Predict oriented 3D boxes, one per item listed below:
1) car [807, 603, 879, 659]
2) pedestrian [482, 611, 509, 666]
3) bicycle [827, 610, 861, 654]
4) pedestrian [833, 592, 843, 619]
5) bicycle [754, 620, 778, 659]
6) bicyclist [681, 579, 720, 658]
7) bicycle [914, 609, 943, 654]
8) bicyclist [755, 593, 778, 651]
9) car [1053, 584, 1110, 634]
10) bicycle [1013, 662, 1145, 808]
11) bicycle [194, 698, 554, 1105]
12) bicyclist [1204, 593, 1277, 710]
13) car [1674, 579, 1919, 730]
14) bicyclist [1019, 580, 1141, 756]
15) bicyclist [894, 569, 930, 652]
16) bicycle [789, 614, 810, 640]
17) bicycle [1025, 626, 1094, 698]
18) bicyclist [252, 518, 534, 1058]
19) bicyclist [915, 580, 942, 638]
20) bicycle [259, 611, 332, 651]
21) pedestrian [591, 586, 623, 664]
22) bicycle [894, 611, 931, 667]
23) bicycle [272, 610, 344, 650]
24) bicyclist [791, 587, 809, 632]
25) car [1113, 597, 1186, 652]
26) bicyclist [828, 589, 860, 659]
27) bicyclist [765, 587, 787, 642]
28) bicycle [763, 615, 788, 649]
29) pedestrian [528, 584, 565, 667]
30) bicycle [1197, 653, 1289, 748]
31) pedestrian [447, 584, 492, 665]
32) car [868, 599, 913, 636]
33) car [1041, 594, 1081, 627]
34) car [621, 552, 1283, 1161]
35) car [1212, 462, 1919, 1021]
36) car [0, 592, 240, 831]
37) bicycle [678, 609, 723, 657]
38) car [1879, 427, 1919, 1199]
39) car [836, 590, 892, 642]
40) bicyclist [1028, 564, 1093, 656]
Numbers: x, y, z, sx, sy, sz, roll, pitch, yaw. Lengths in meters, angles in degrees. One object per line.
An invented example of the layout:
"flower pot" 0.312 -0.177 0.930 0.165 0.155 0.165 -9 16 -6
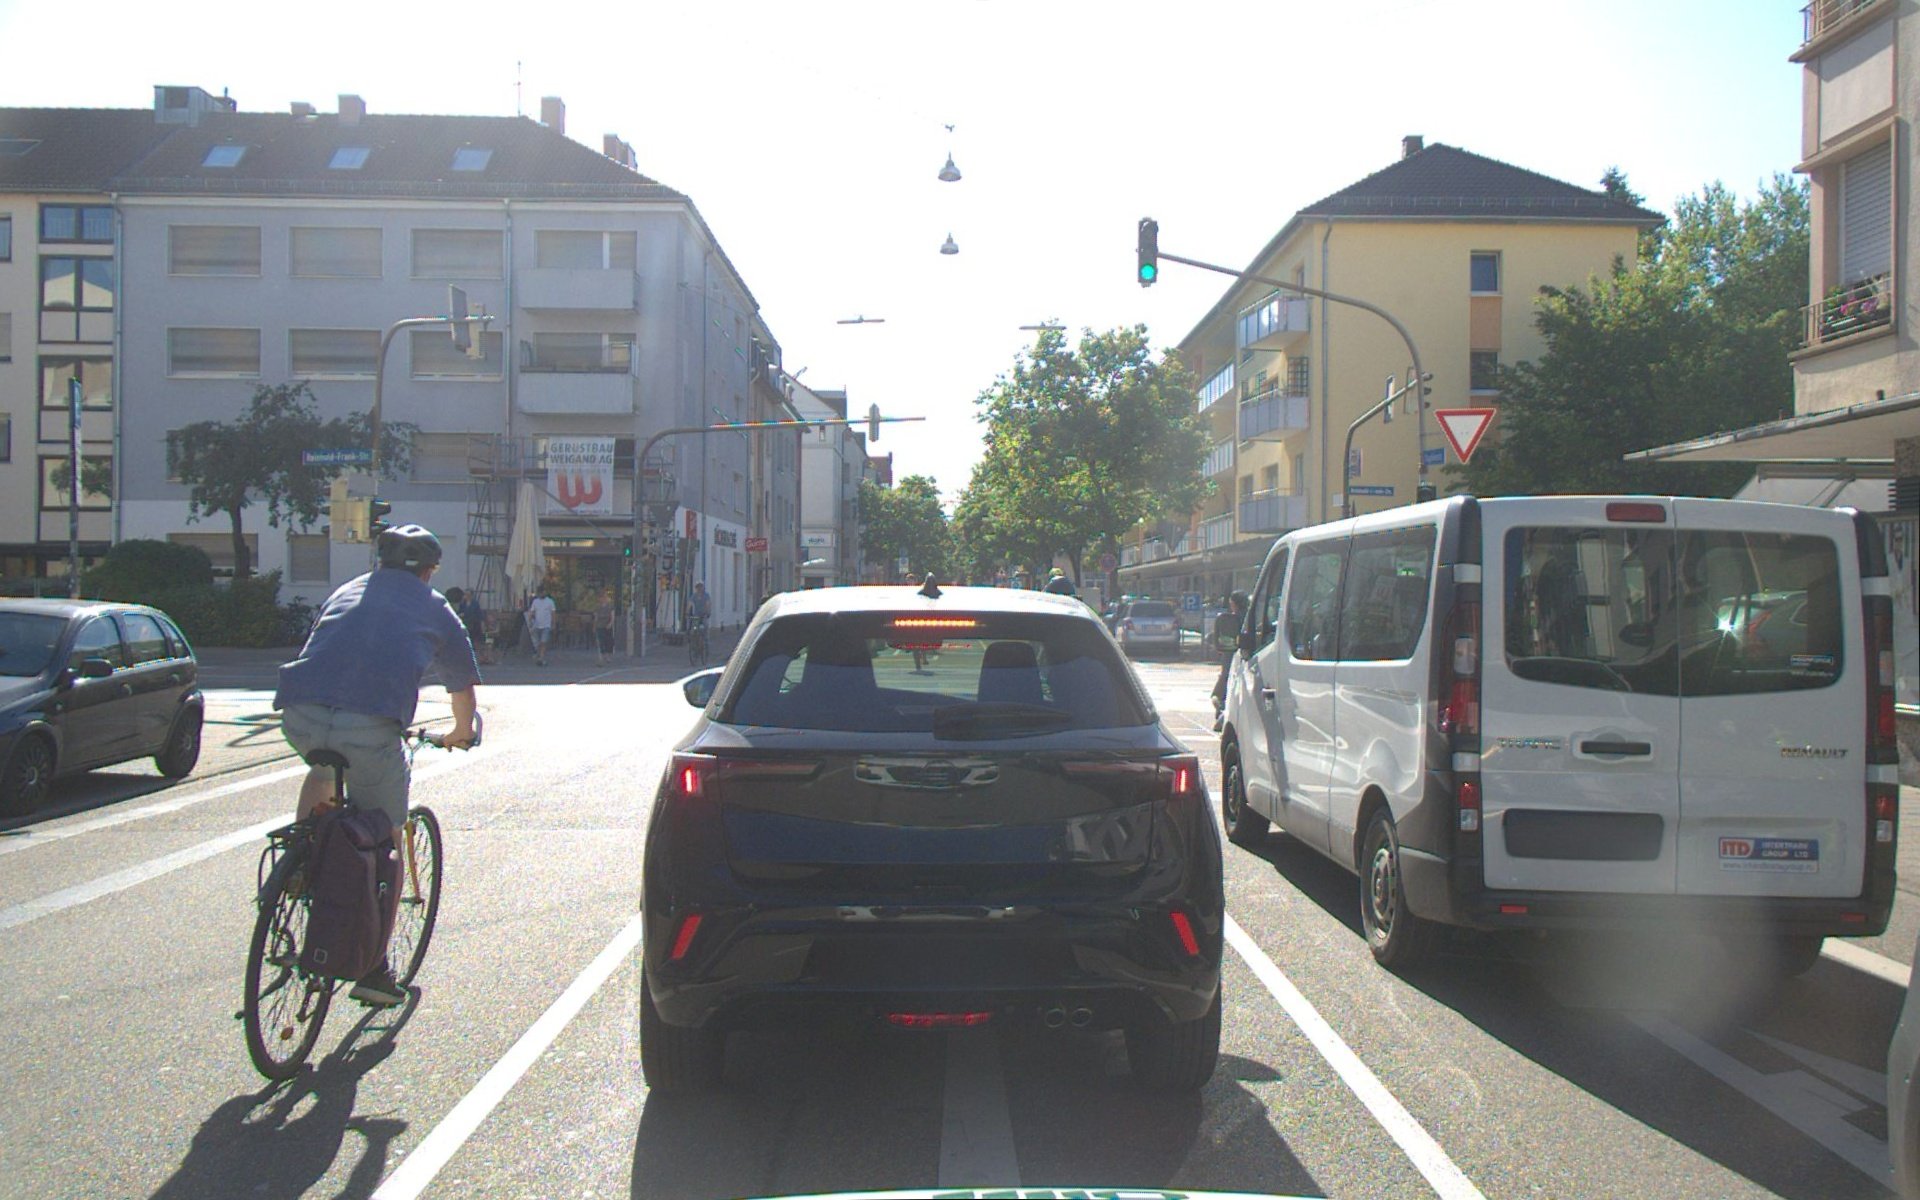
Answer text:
"car" -3.224 0.835 46.154 1.800 1.459 4.175 0 0 -1
"pedestrian" -10.003 0.821 35.633 0.377 1.166 0.532 0 0 7
"bicycle" -2.687 0.740 38.522 0.666 0.969 1.933 -1 0 -1
"pedestrian" -7.124 0.313 96.786 0.566 1.610 0.707 0 0 -6
"bicycle" -4.783 0.969 40.910 0.532 0.918 1.824 0 0 -5
"bicyclist" -5.597 0.396 35.740 0.666 1.659 0.899 -1 0 -1
"bicycle" -0.926 0.919 48.905 0.785 1.277 2.139 0 0 1
"bicyclist" -4.786 0.538 40.989 0.532 1.415 0.787 0 0 -5
"car" 4.742 0.339 65.076 2.003 1.879 4.585 0 0 1
"bicycle" 0.927 1.051 13.496 0.839 0.961 2.307 2 0 -1
"bicycle" -1.920 0.928 5.699 0.619 1.059 1.795 0 0 -1
"bicyclist" 2.987 0.539 17.646 0.677 1.214 0.595 0 0 0
"car" 10.810 0.615 19.622 3.905 1.691 1.825 0 0 -1
"bicyclist" 0.955 0.525 13.496 0.839 1.337 1.210 2 0 -1
"bicyclist" -0.963 0.215 33.565 0.702 1.648 0.946 0 0 -1
"bicycle" -5.688 0.949 58.602 0.542 0.848 2.131 1 0 -1
"bicycle" 1.489 0.919 25.098 0.839 0.961 2.307 2 0 -1
"bicyclist" -1.924 0.590 5.745 0.619 1.698 1.050 0 0 -1
"bicyclist" -0.927 0.263 49.010 0.785 1.678 1.125 0 0 0
"bicycle" -16.024 0.736 39.906 1.556 0.956 0.512 0 0 1
"pedestrian" -7.418 0.521 34.813 0.520 1.609 0.563 0 0 3
"bicycle" -0.956 0.776 33.565 0.702 1.082 1.872 0 0 -1
"bicycle" -15.965 0.729 40.498 1.556 0.956 0.512 0 0 1
"bicyclist" -5.670 0.319 58.605 0.542 1.576 0.814 1 0 -1
"car" 5.352 0.672 47.088 1.677 1.509 3.480 0 0 0
"bicyclist" -2.695 0.552 38.484 0.666 1.604 0.899 -1 0 -1
"bicyclist" -5.230 0.416 47.018 0.531 1.547 0.774 0 0 -1
"bicycle" -5.230 0.912 46.996 0.531 0.918 1.826 0 0 -1
"pedestrian" -8.670 0.521 34.707 0.561 1.718 0.670 0 0 5
"bicycle" 2.982 1.039 17.602 0.677 0.881 1.876 0 0 1
"pedestrian" -10.537 0.517 35.580 0.561 1.712 0.969 0 0 9
"car" -2.855 0.705 68.345 1.769 1.437 4.424 -1 0 -3
"car" 4.755 0.469 78.213 1.677 1.509 3.380 0 0 0
"car" -0.045 0.677 6.332 1.726 1.586 3.999 0 0 -1
"car" 2.706 0.523 8.519 1.928 1.974 5.054 2 0 -1
"car" -7.084 0.714 12.501 1.657 1.473 3.855 2 0 -2
"bicycle" -5.586 0.702 35.675 0.666 0.969 1.933 -1 0 -1
"car" 3.034 0.562 1.208 1.928 1.842 4.831 0 0 -2
"car" -3.053 0.515 53.278 1.559 1.593 4.088 -1 0 0
"bicyclist" 1.519 0.150 25.199 0.839 1.337 1.210 2 0 -1
